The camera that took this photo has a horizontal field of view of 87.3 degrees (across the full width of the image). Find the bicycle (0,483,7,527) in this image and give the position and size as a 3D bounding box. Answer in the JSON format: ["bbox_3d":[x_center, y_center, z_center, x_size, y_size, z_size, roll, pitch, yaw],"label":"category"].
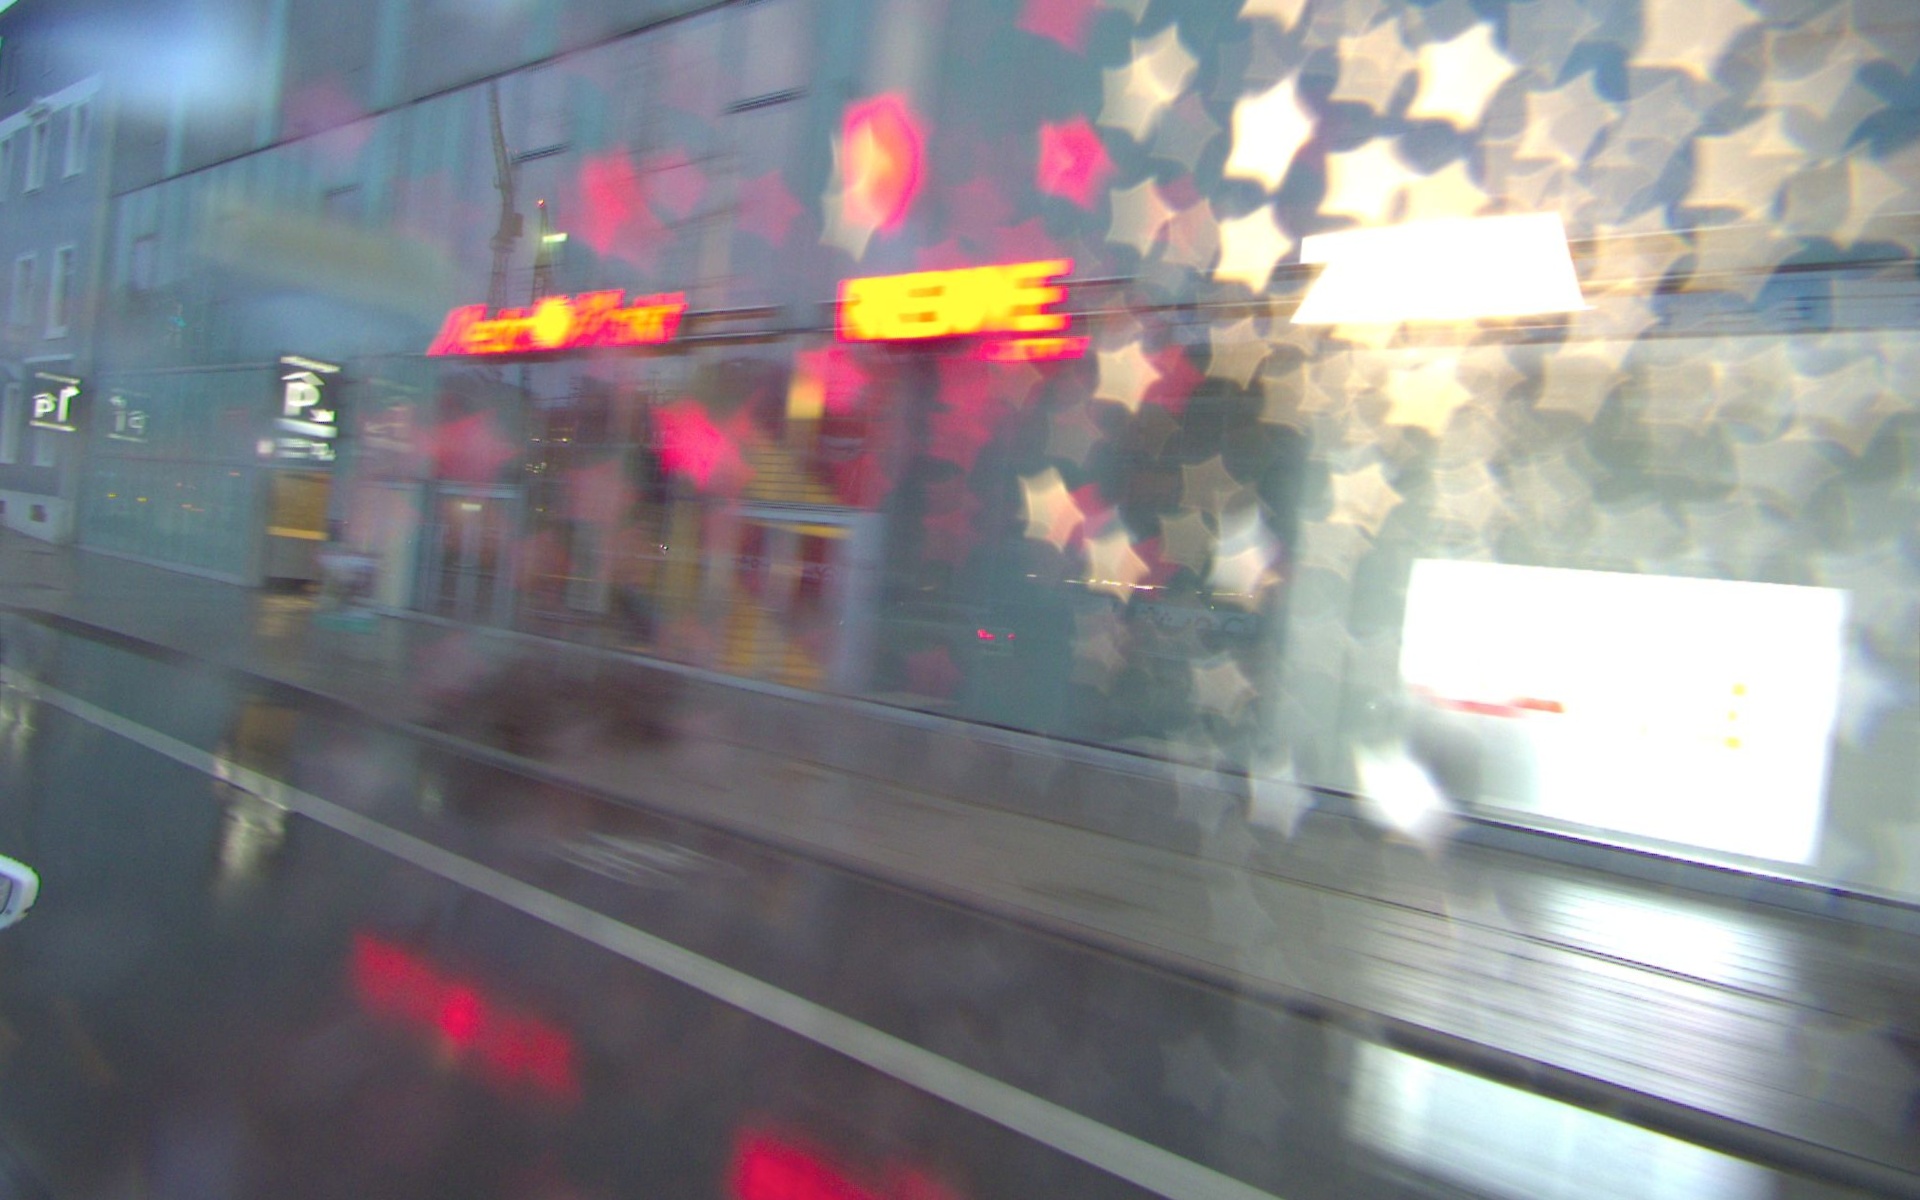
[{"bbox_3d":[-28.341,-2.820,29.062,1.874,1.238,0.682,7,3,32],"label":"bicycle"}]
